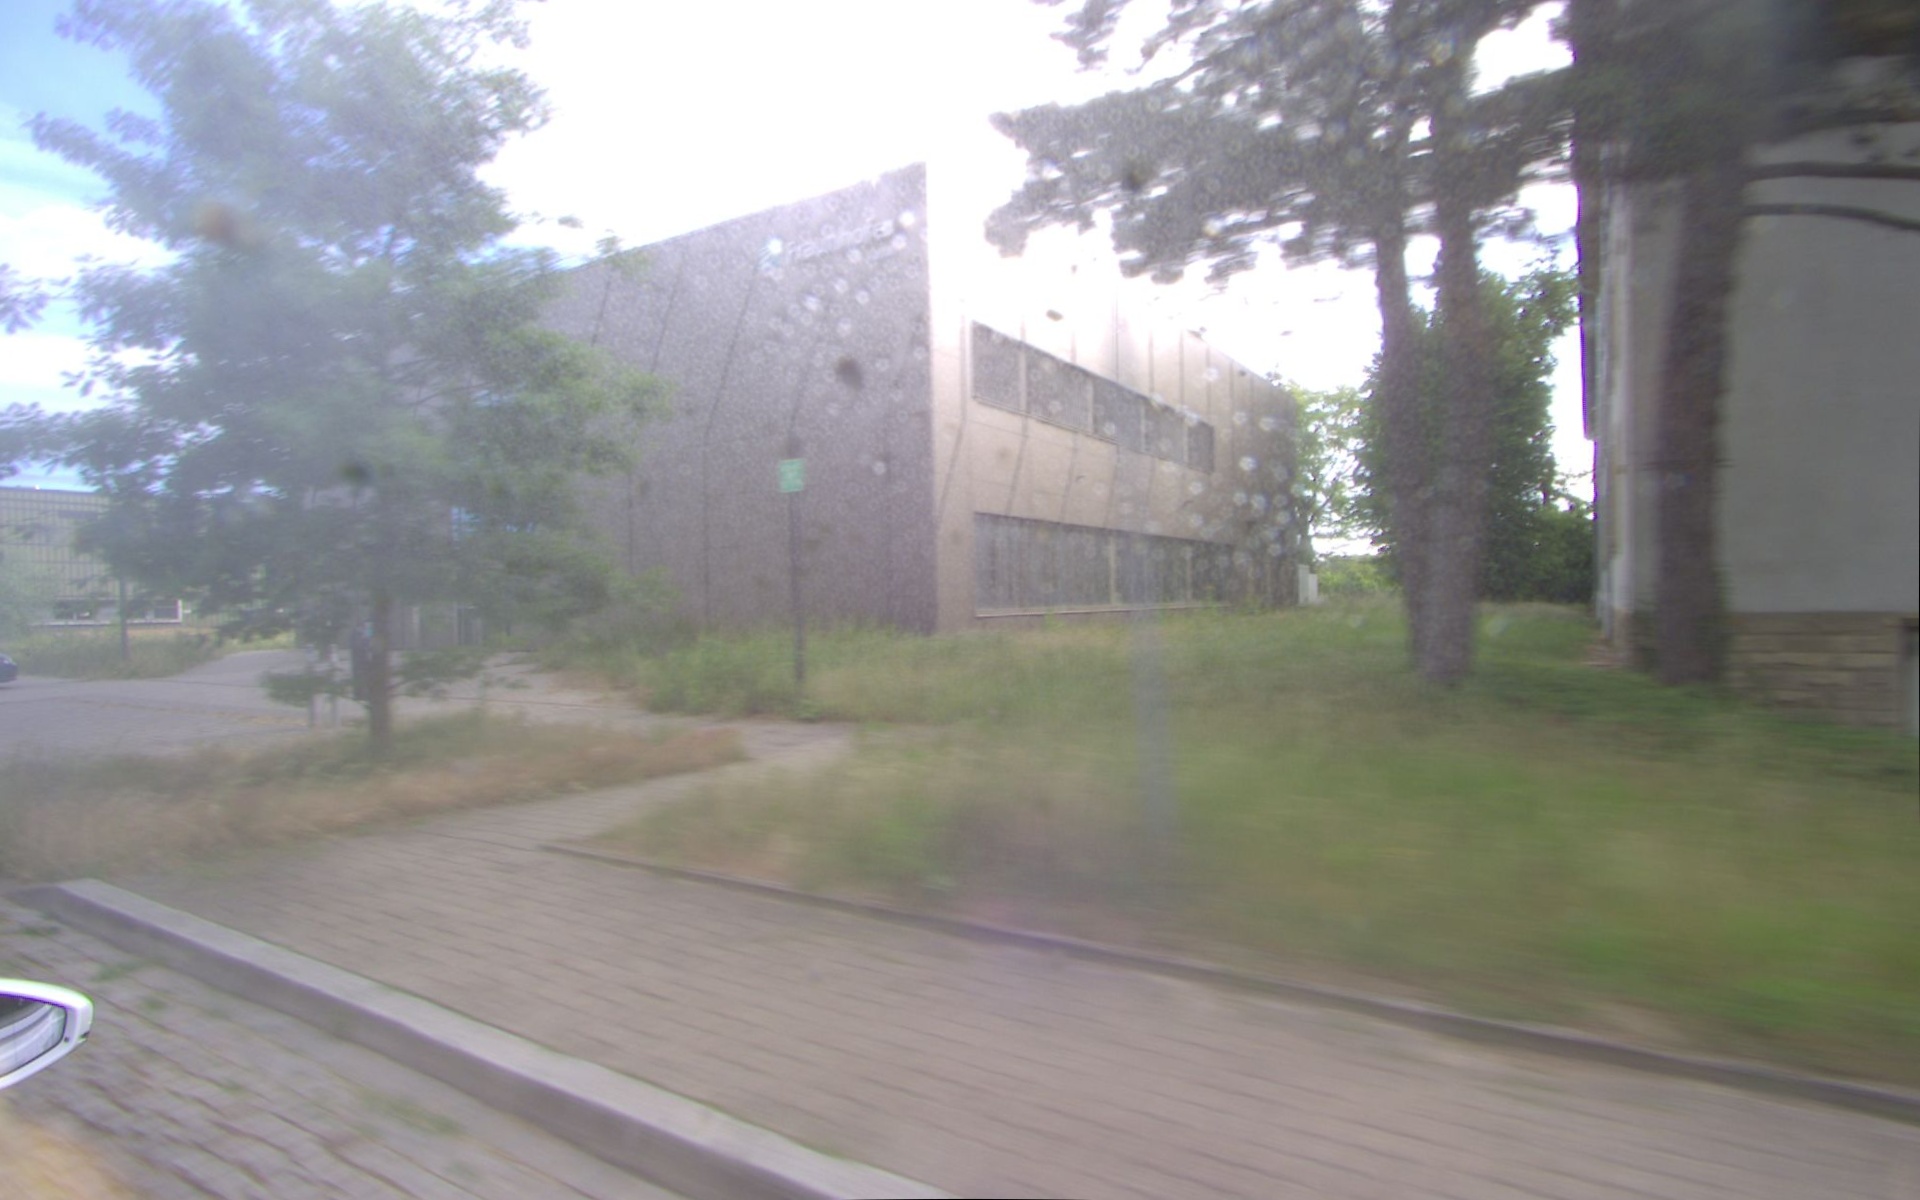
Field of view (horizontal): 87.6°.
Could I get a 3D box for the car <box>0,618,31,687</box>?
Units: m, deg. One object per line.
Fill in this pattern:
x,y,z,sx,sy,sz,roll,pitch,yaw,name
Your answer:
-22.463,1.231,20.605,1.796,1.463,4.514,-1,2,29,car
